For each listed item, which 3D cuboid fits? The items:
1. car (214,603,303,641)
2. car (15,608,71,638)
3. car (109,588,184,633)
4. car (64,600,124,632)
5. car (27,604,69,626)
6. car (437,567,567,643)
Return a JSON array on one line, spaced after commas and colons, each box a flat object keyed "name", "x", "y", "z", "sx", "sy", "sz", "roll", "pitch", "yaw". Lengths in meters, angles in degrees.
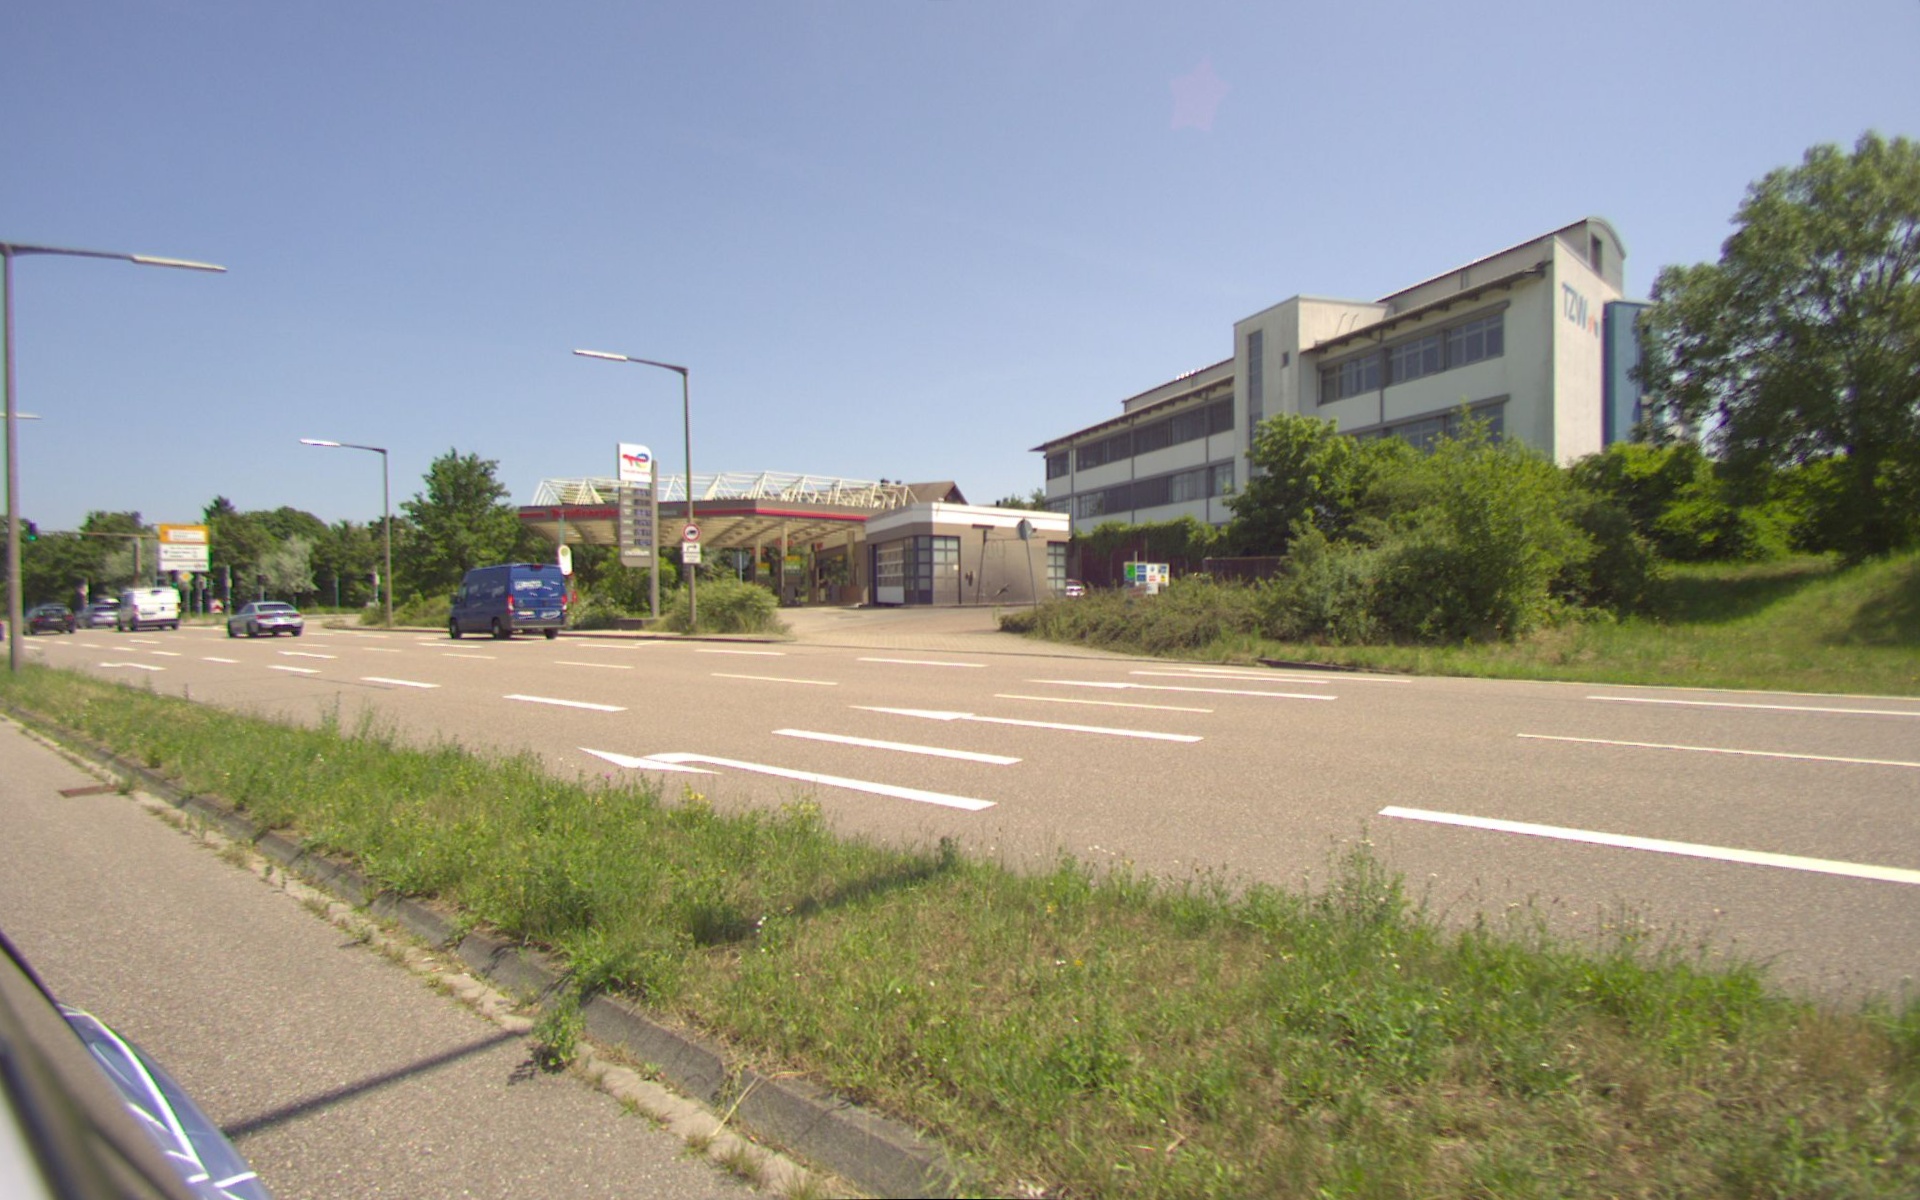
[{"name": "car", "x": -29.301, "y": 0.910, "z": 42.209, "sx": 4.847, "sy": 1.460, "sz": 1.813, "roll": -1, "pitch": 0, "yaw": 40}, {"name": "car", "x": -48.574, "y": 1.190, "z": 53.600, "sx": 4.563, "sy": 1.469, "sz": 1.713, "roll": -1, "pitch": 0, "yaw": 42}, {"name": "car", "x": -44.576, "y": 0.583, "z": 55.381, "sx": 5.446, "sy": 2.290, "sz": 2.226, "roll": -1, "pitch": 2, "yaw": 41}, {"name": "car", "x": -54.061, "y": 0.971, "z": 63.130, "sx": 5.017, "sy": 1.763, "sz": 1.946, "roll": 0, "pitch": 3, "yaw": 40}, {"name": "car", "x": -68.016, "y": 1.133, "z": 75.442, "sx": 3.995, "sy": 1.551, "sz": 1.642, "roll": -1, "pitch": 2, "yaw": 39}, {"name": "car", "x": -15.946, "y": 0.188, "z": 35.072, "sx": 5.673, "sy": 2.430, "sz": 2.149, "roll": -1, "pitch": 0, "yaw": 44}]
